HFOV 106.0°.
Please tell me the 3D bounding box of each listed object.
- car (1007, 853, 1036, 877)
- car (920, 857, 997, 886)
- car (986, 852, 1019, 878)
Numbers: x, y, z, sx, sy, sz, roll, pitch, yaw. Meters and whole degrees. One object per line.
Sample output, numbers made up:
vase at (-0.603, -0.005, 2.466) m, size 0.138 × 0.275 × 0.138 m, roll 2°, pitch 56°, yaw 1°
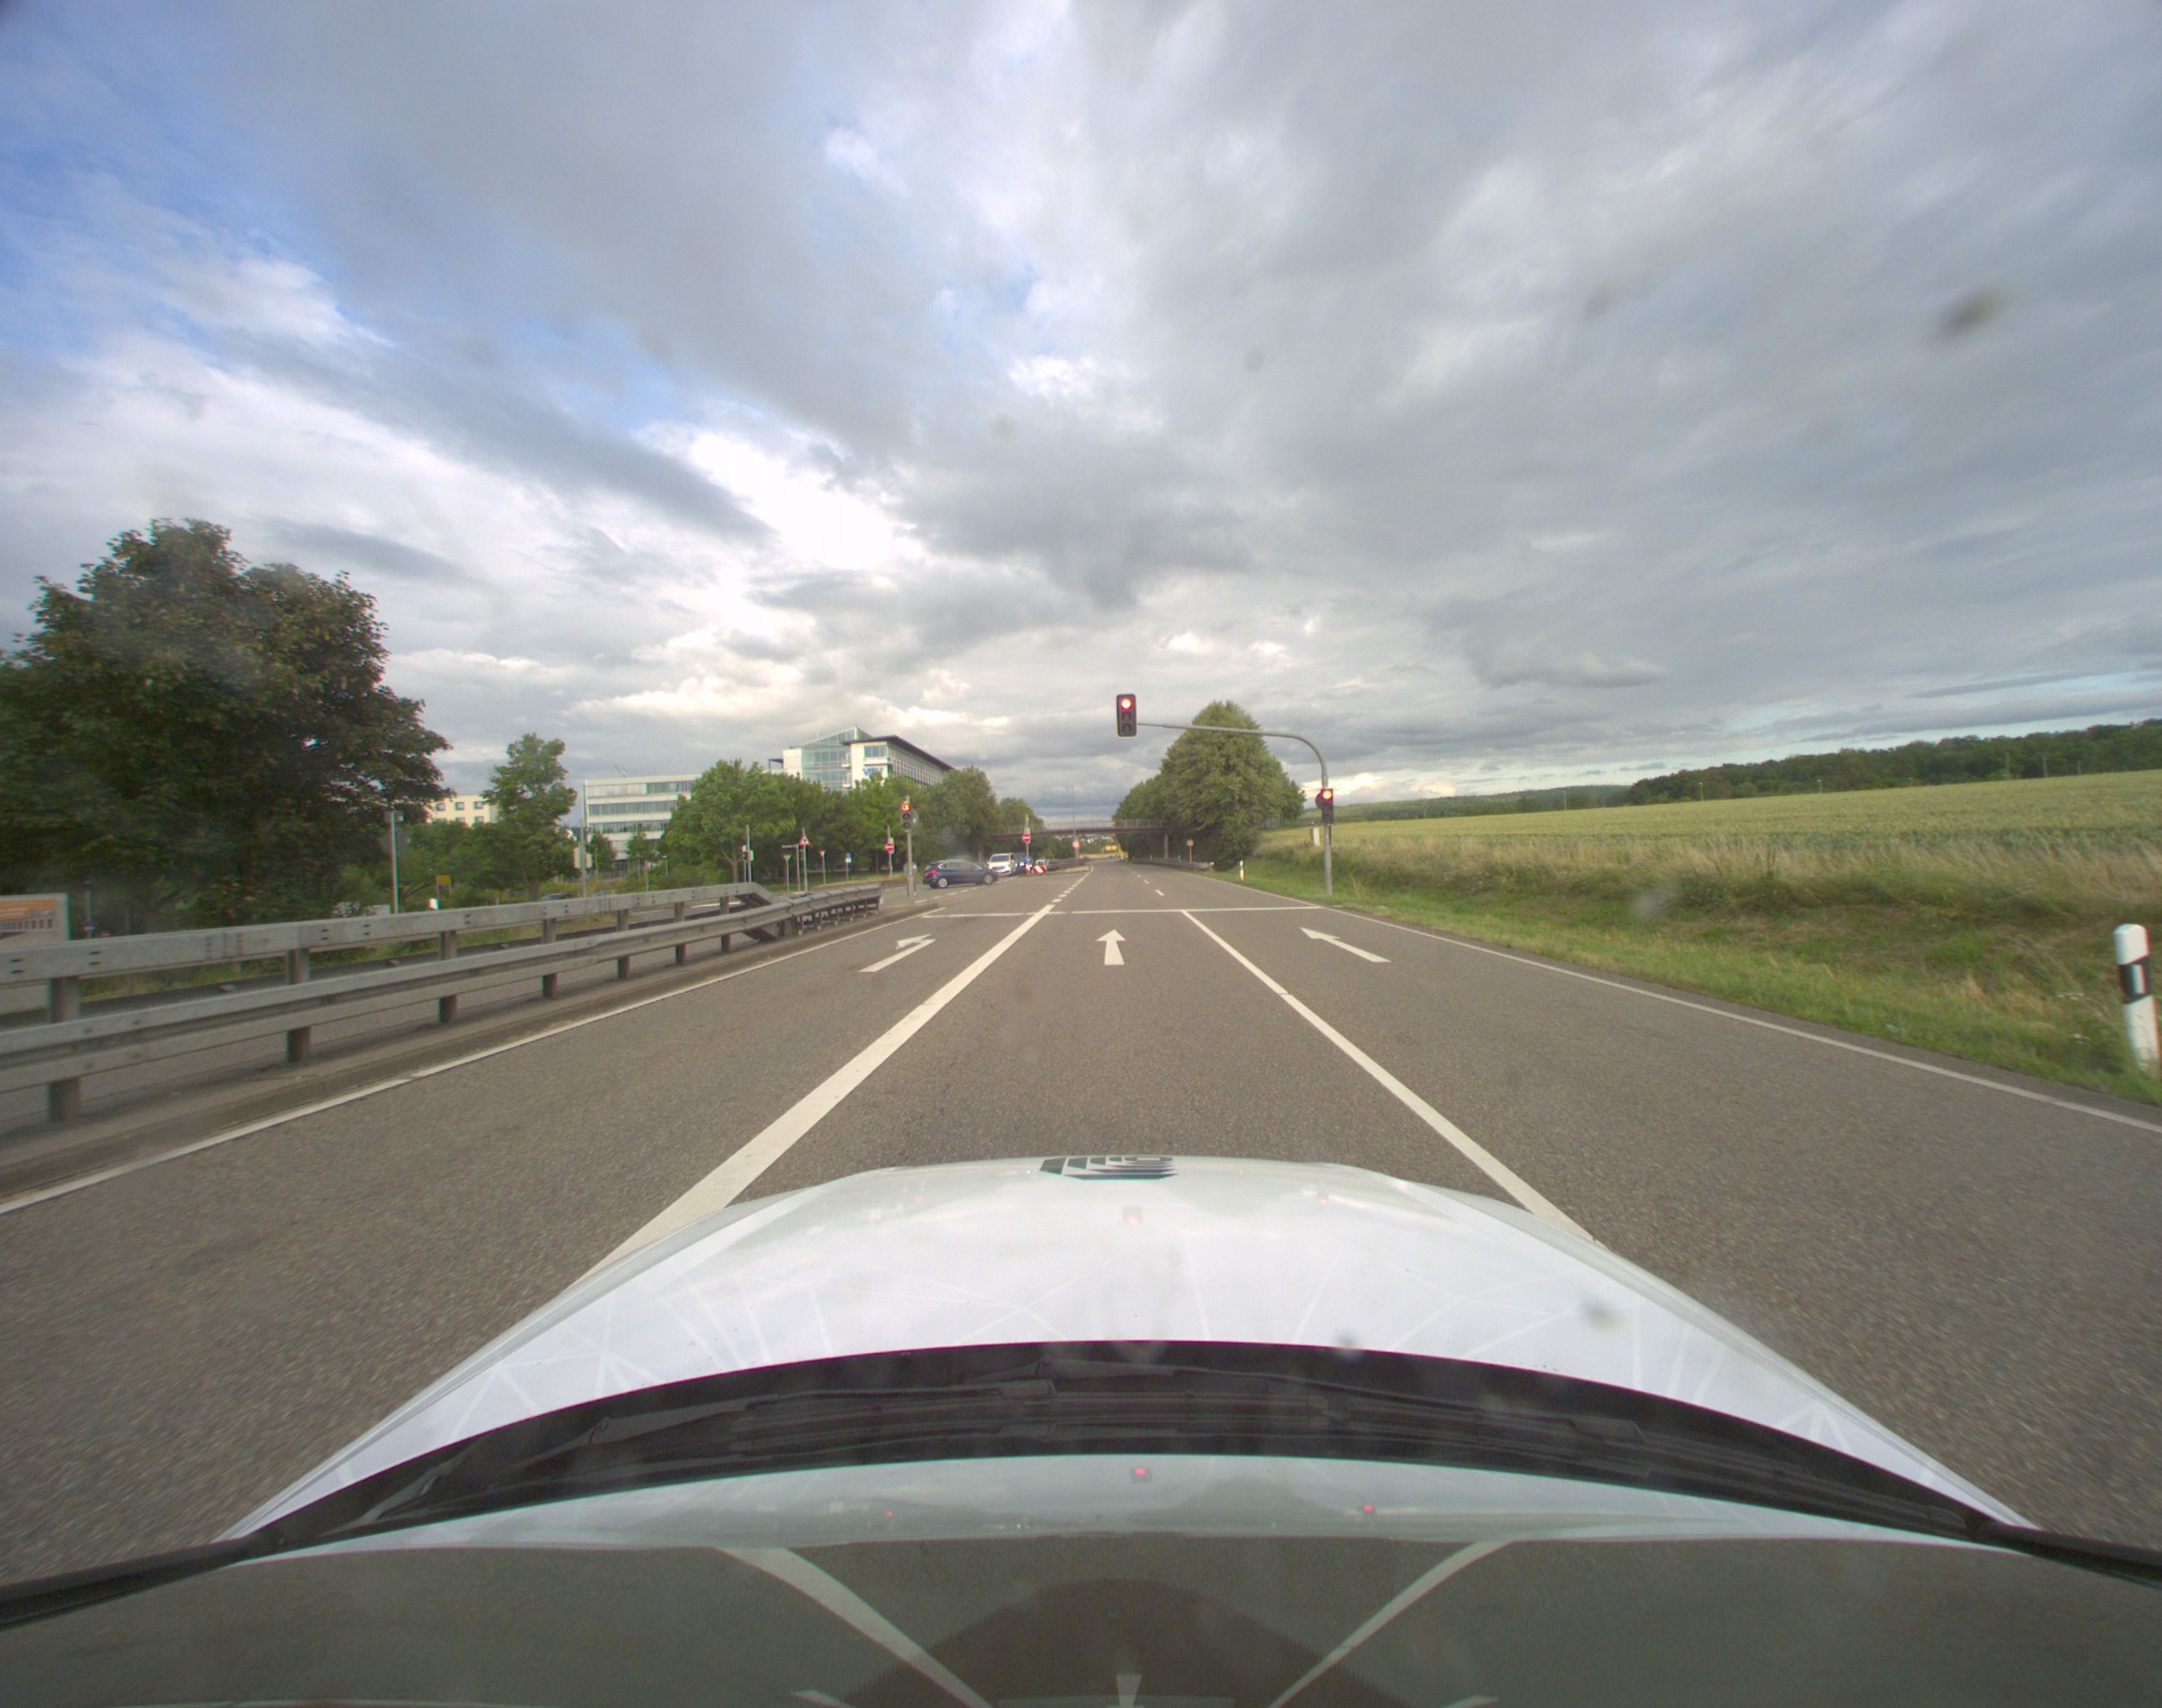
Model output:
car at (-5.338, 0.980, 73.473) m, size 2.076 × 2.014 × 5.217 m, roll -1°, pitch 0°, yaw 1°
car at (-7.008, 0.981, 46.564) m, size 4.008 × 1.552 × 1.869 m, roll 0°, pitch -1°, yaw -27°
car at (-6.290, 0.888, 65.757) m, size 2.076 × 2.014 × 5.217 m, roll -1°, pitch 0°, yaw 1°
